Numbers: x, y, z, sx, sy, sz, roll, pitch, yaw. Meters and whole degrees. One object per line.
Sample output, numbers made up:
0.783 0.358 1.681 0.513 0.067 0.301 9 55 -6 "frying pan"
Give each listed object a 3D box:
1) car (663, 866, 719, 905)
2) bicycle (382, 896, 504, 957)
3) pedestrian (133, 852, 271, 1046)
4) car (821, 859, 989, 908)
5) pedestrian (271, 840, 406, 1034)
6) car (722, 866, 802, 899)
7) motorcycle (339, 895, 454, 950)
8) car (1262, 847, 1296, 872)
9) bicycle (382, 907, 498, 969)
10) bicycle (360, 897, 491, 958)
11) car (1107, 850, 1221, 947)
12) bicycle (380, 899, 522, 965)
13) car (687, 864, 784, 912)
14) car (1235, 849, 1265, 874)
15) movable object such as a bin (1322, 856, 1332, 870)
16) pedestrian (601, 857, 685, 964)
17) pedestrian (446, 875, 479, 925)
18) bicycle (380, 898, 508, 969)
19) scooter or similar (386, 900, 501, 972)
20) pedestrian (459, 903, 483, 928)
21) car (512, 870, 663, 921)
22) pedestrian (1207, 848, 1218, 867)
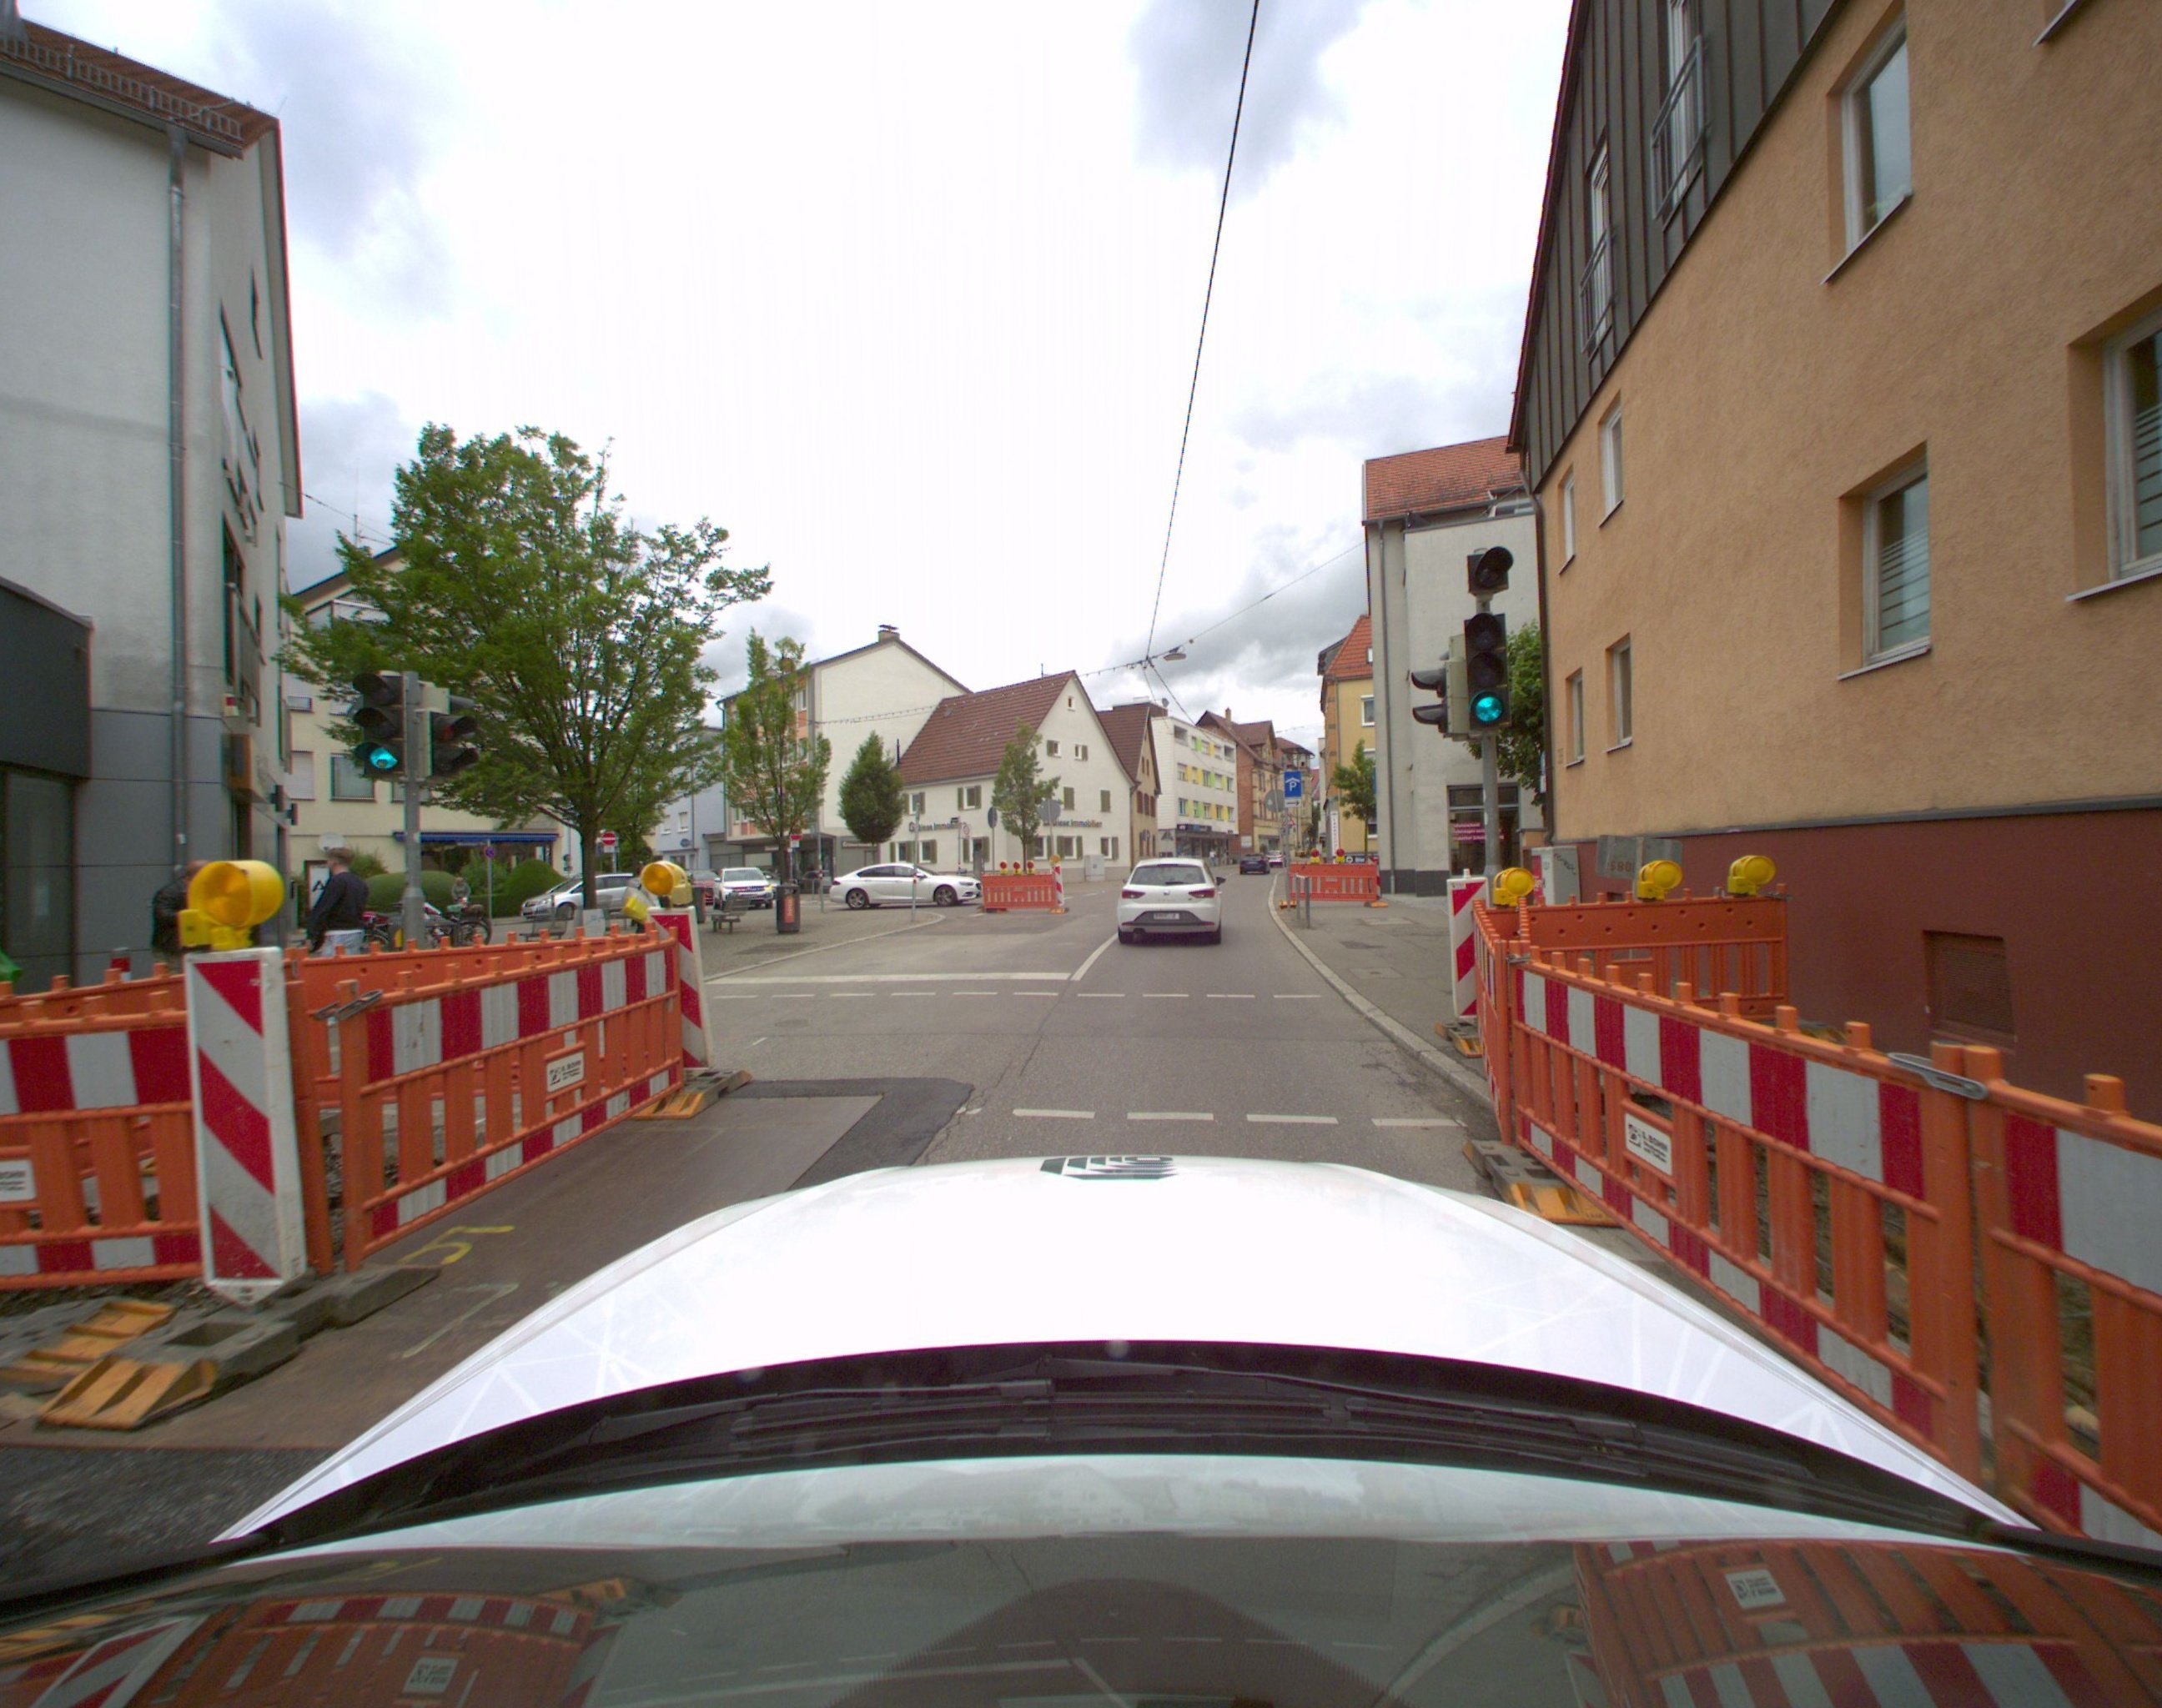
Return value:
-17.801 1.354 37.056 2.027 1.557 4.872 -1 0 -29 "car"
-13.860 1.541 17.730 1.972 1.074 0.802 -4 1 -43 "bicycle"
-8.670 0.891 8.074 0.695 1.791 0.712 -1 0 -28 "pedestrian"
-5.628 0.933 26.570 4.882 1.477 2.251 -1 0 3 "car"
-7.872 0.829 8.682 0.818 1.925 0.778 -1 0 -24 "pedestrian"
-16.345 1.398 41.603 4.858 1.557 2.033 -1 0 45 "car"
-16.180 1.595 19.295 0.793 1.104 1.967 -3 -1 42 "motorcycle"
17.058 0.473 70.015 1.975 2.013 4.023 -2 0 25 "car"
-12.431 1.607 15.841 0.490 0.882 1.640 -3 4 45 "bicycle"
-14.603 1.597 18.210 0.684 1.061 2.140 -1 3 41 "bicycle"
1.641 0.708 14.960 1.800 1.480 3.881 -1 1 10 "car"
-12.748 1.541 16.537 0.741 1.046 2.165 -3 1 45 "bicycle"
-12.928 1.198 30.282 2.032 1.557 4.862 -1 0 -39 "car"
11.177 0.445 53.719 1.799 1.480 3.884 -2 1 12 "car"
16.818 0.618 55.695 0.614 0.921 0.584 -2 0 19 "movable object such as a bin"
-6.824 0.860 12.720 0.675 1.592 0.884 -2 0 24 "pedestrian"
-21.746 1.608 28.650 0.773 1.669 0.945 -2 -1 -31 "pedestrian"
-11.925 1.465 15.284 0.525 1.046 1.756 -3 3 45 "bicycle"
-11.459 1.439 14.666 1.542 1.123 0.590 -2 0 -45 "scooter or similar"
-21.201 2.140 28.299 0.578 0.799 0.448 -2 -1 -45 "pedestrian"
-18.322 1.502 30.425 1.974 1.640 4.355 -3 0 30 "car"
11.782 0.326 72.858 0.886 1.665 0.864 -2 0 12 "pedestrian"
